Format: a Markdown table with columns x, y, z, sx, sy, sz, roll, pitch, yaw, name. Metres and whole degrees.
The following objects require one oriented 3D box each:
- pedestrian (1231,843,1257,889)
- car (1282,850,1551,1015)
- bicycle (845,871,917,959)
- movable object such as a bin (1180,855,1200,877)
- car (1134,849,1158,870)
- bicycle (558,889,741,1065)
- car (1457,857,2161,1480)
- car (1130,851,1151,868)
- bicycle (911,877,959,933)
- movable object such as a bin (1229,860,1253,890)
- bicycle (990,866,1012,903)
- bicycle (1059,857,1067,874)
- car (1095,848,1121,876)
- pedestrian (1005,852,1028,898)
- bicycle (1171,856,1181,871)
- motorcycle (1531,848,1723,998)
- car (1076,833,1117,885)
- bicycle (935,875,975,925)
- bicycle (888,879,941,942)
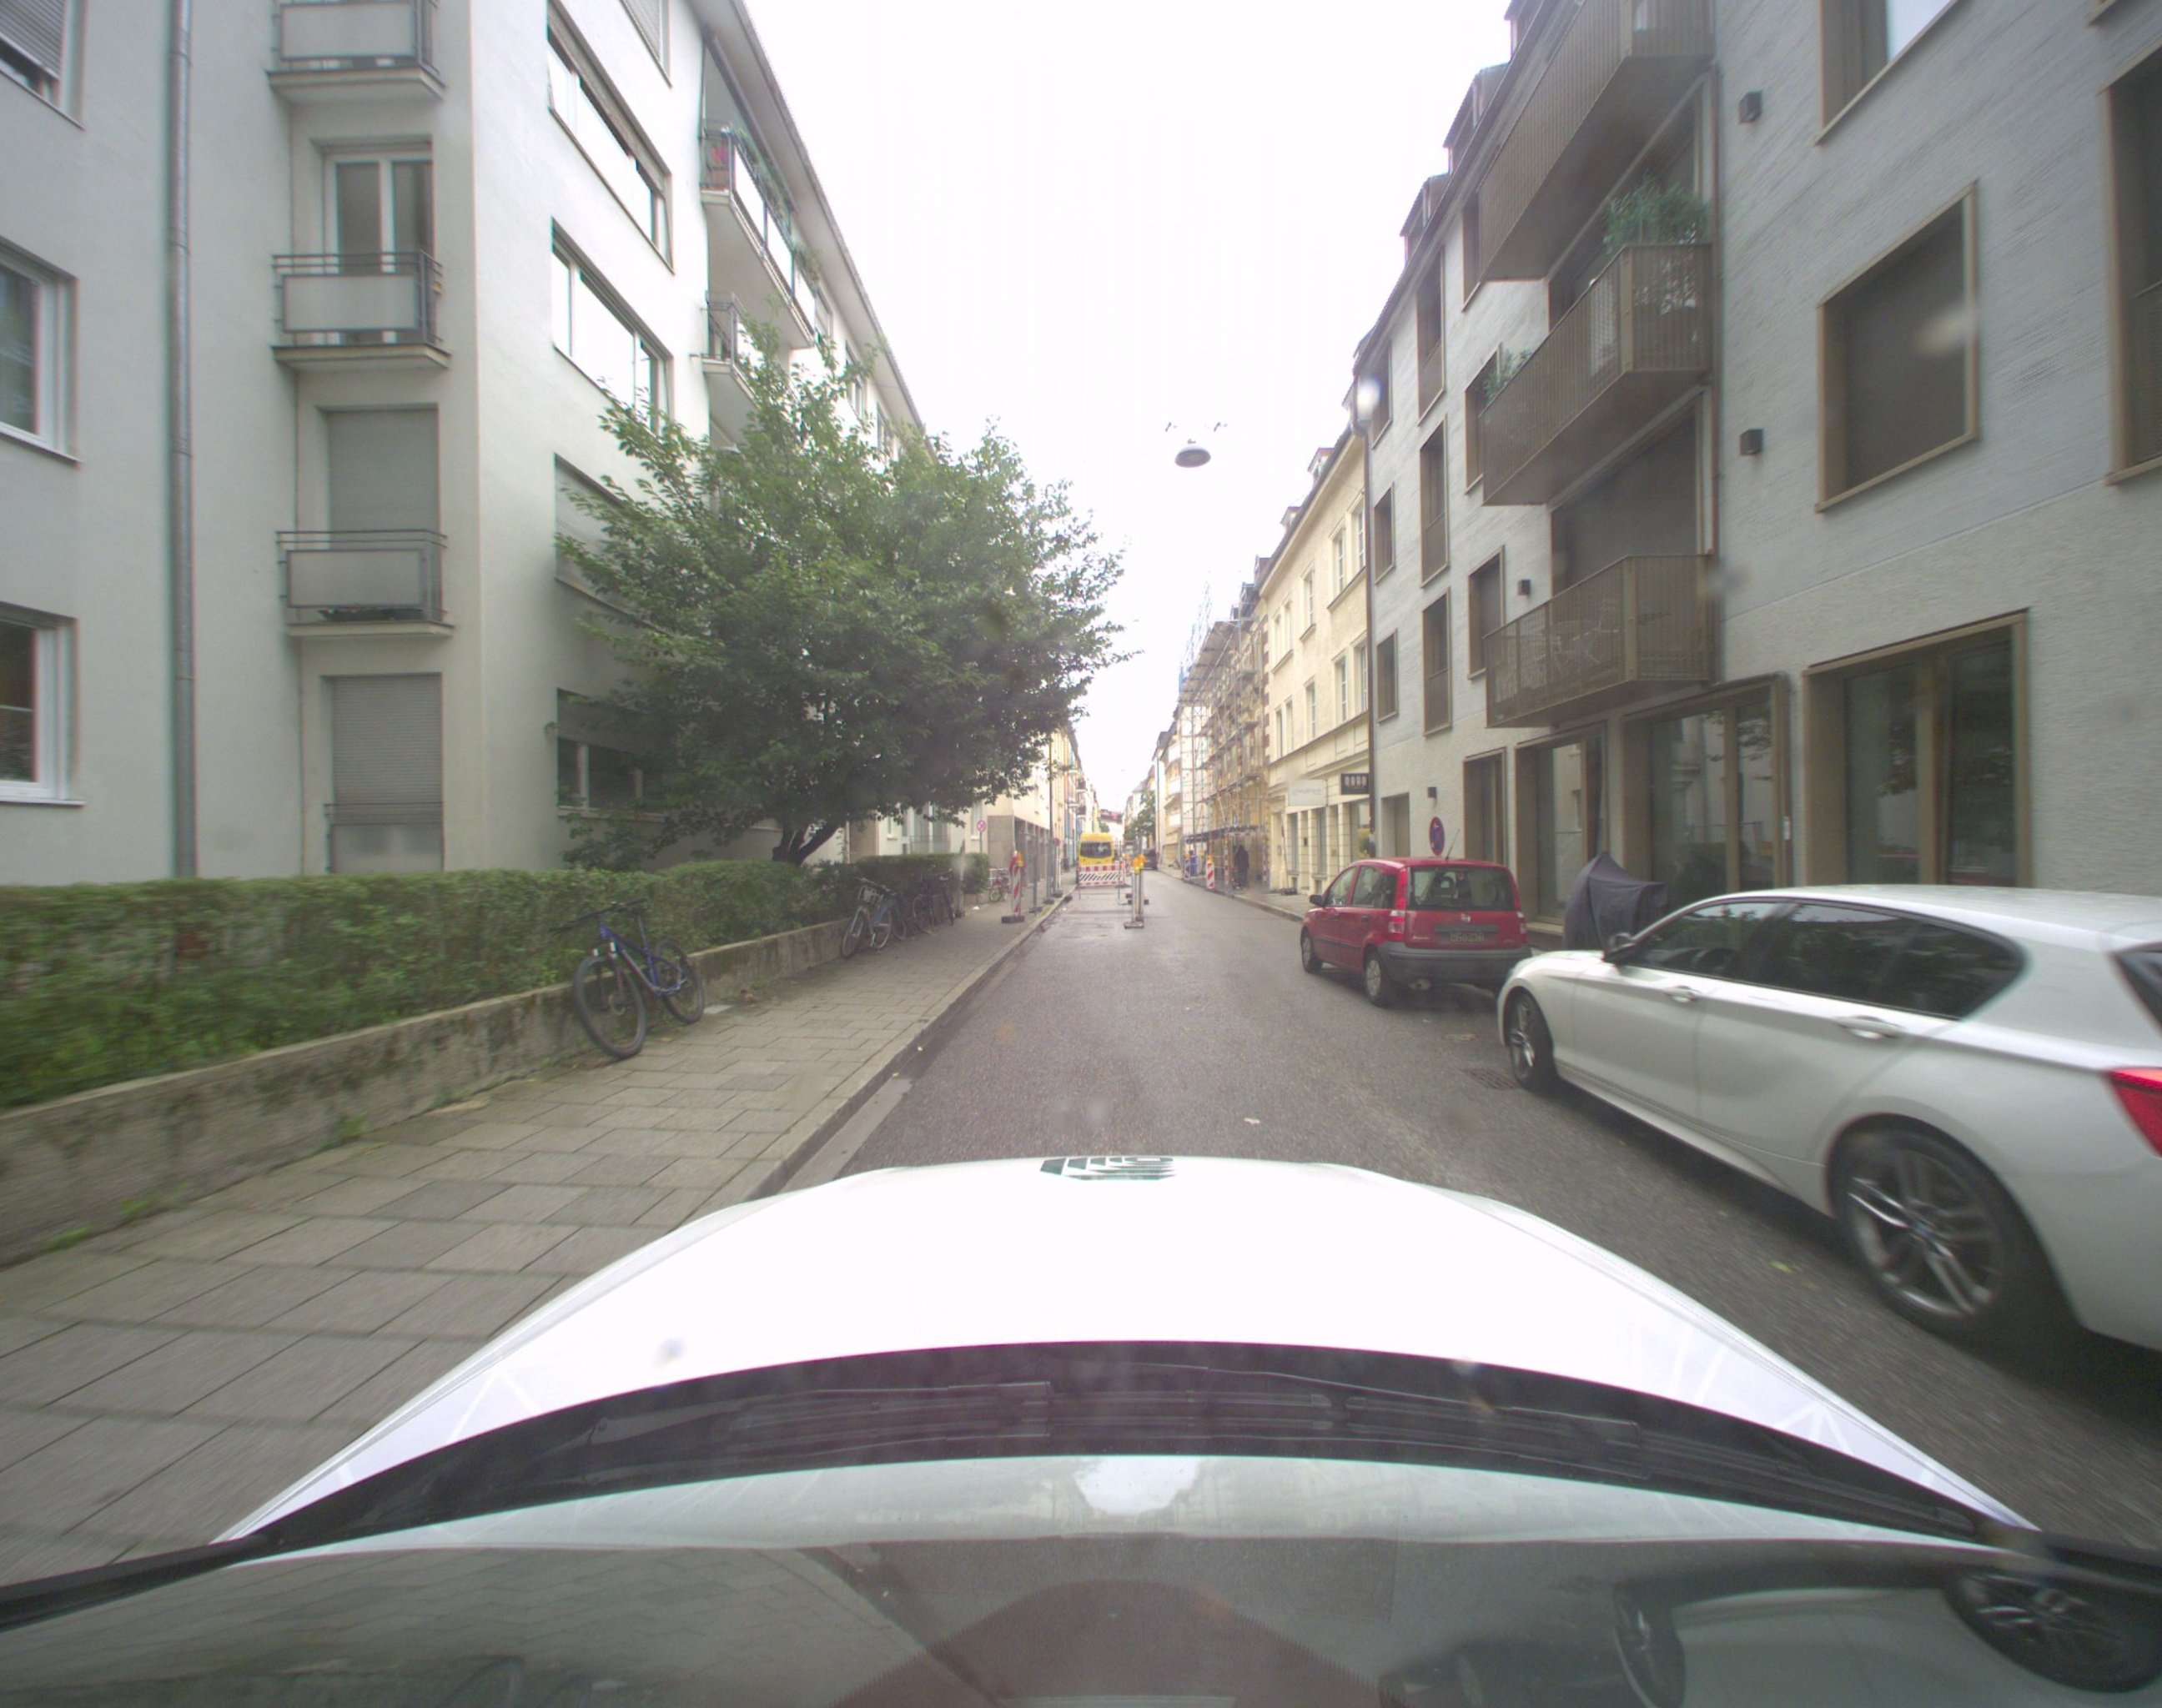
| x | y | z | sx | sy | sz | roll | pitch | yaw | name |
| --- | --- | --- | --- | --- | --- | --- | --- | --- | --- |
| 6.490 | 0.466 | 32.557 | 0.727 | 1.752 | 0.988 | -4 | 0 | 1 | pedestrian |
| 3.679 | 0.738 | 9.754 | 1.764 | 1.524 | 4.070 | 1 | 0 | 4 | car |
| -2.840 | 0.835 | 11.719 | 0.486 | 1.151 | 1.700 | 2 | -1 | 3 | bicycle |
| 7.164 | 0.774 | 53.440 | 1.078 | 1.346 | 1.322 | -4 | 0 | 14 | movable object such as a bin |
| 6.043 | 0.490 | 75.902 | 1.986 | 1.932 | 4.661 | 1 | 0 | 1 | car |
| -3.222 | 0.850 | 6.267 | 0.345 | 1.072 | 1.781 | 3 | 0 | 2 | bicycle |
| 3.571 | 0.769 | 3.873 | 1.761 | 1.461 | 4.384 | 1 | 0 | 3 | car |
| 6.251 | 0.552 | 85.731 | 1.887 | 1.641 | 4.323 | -1 | 0 | 1 | car |
| -2.794 | 0.956 | 15.747 | 0.442 | 0.978 | 1.855 | 2 | -1 | 3 | bicycle |
| 6.528 | 0.832 | 33.293 | 0.727 | 1.141 | 0.988 | -5 | 0 | 1 | movable object such as a bin |
| -2.500 | 0.950 | 25.554 | 0.375 | 1.063 | 1.598 | 5 | 0 | 3 | bicycle |
| -1.294 | 0.839 | 58.948 | 0.380 | 1.188 | 2.132 | 0 | 1 | -6 | bicycle |
| 1.961 | 0.575 | 59.064 | 1.721 | 1.897 | 5.511 | -3 | 0 | 2 | car |
| -2.202 | 0.715 | 27.872 | 0.635 | 1.532 | 0.748 | -2 | 0 | 4 | pedestrian |
| 8.065 | 0.793 | 68.945 | 0.635 | 1.153 | 1.916 | -4 | 1 | 3 | bicycle |
| 5.886 | 0.677 | 8.955 | 0.801 | 1.423 | 1.933 | -4 | 0 | 3 | motorcycle |
| 0.843 | 0.253 | 44.031 | 1.986 | 2.578 | 6.738 | -1 | 0 | 1 | car |
| -2.701 | 0.968 | 17.612 | 0.442 | 0.978 | 1.817 | 2 | -1 | 3 | bicycle |
| -2.871 | 0.949 | 14.186 | 0.434 | 0.978 | 1.700 | 2 | -1 | 3 | bicycle |
